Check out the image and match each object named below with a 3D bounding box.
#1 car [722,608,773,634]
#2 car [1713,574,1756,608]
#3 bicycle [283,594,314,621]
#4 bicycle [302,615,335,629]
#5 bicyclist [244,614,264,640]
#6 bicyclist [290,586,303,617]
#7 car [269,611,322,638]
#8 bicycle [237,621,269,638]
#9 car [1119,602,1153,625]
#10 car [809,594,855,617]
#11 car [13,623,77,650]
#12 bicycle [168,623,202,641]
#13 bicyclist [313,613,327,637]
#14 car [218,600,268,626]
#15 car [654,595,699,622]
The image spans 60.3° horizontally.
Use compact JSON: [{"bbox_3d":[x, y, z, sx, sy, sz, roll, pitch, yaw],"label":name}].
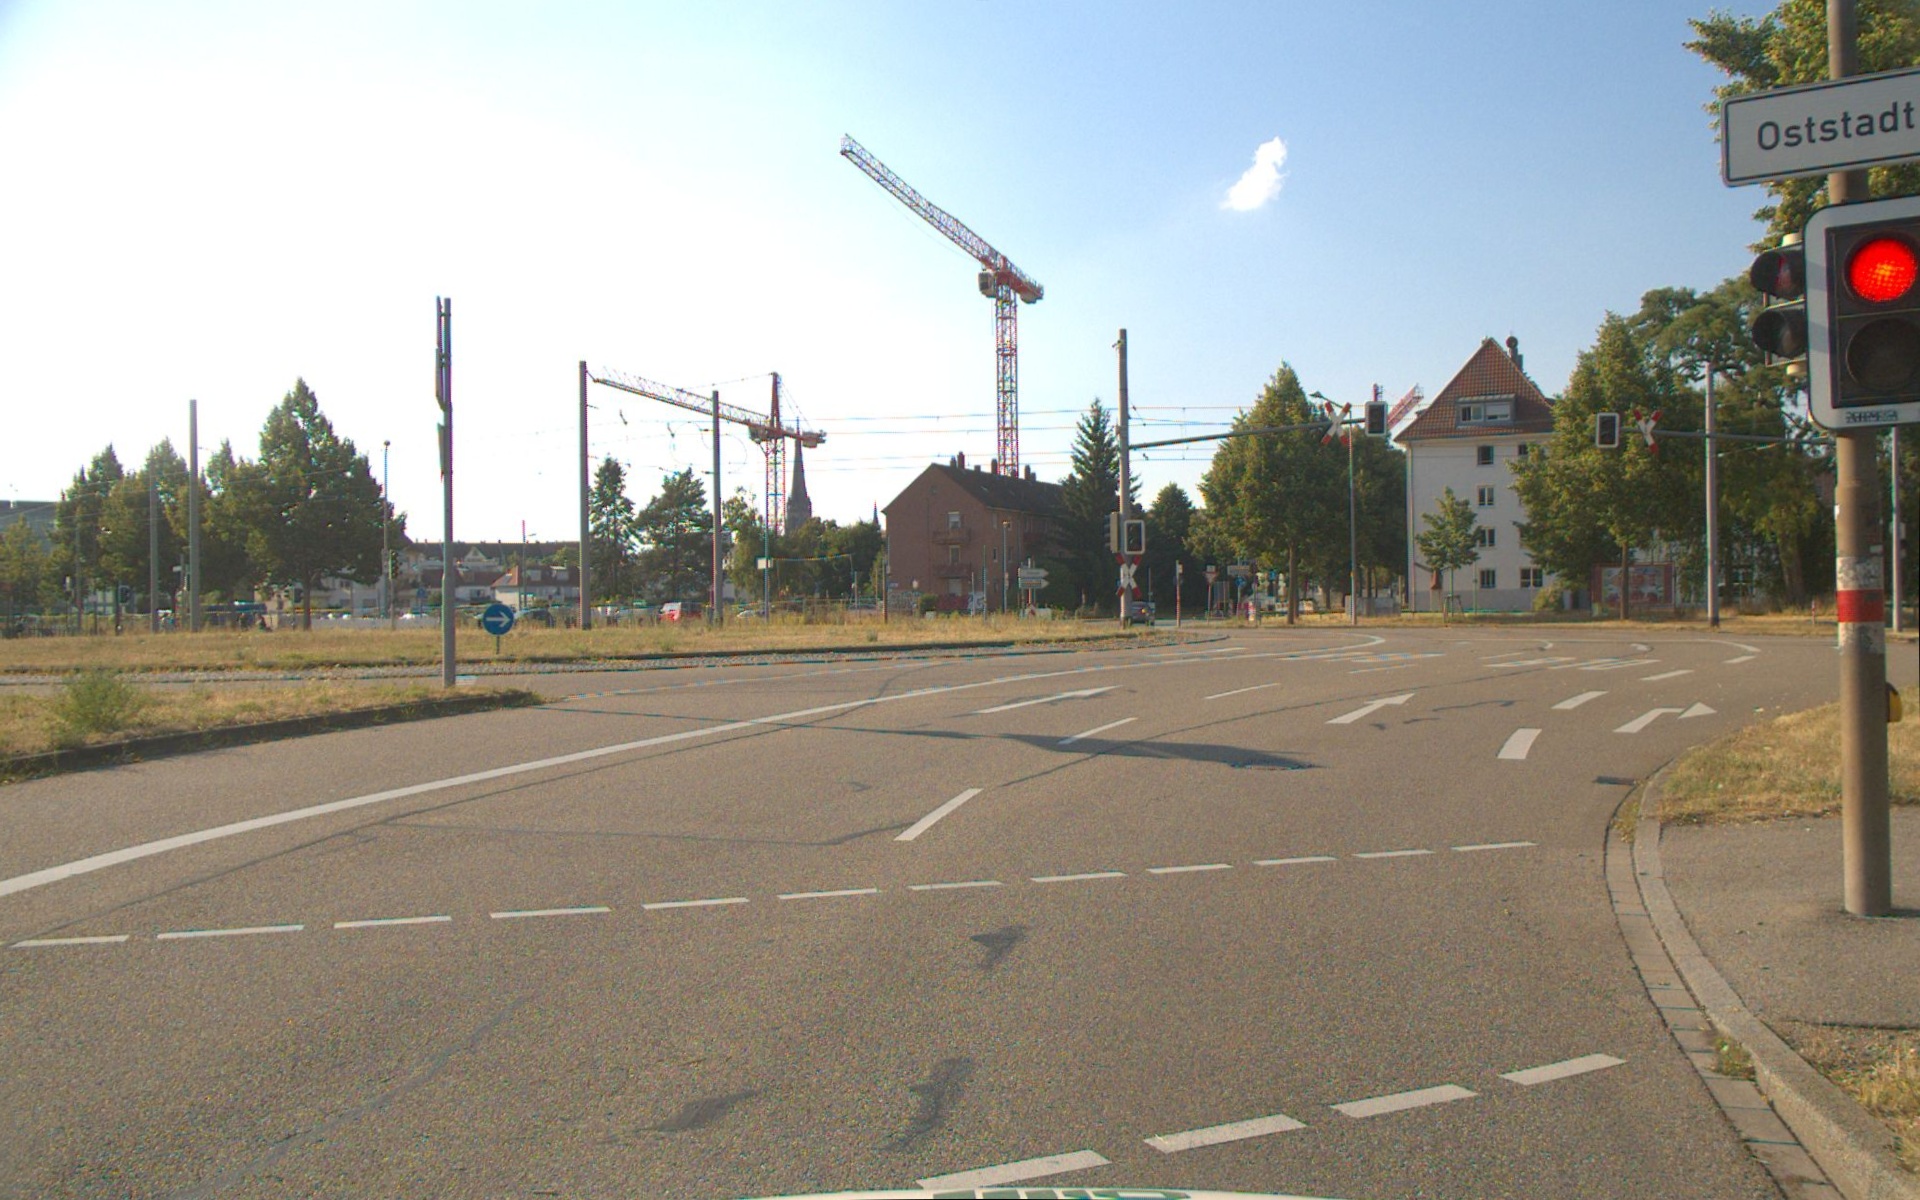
[{"bbox_3d":[-16.993,1.674,132.215,3.728,2.049,1.673,-1,-1,18],"label":"car"},{"bbox_3d":[38.728,-0.445,82.664,1.737,1.646,3.964,-1,-1,27],"label":"car"},{"bbox_3d":[-36.632,0.407,91.604,1.525,1.499,0.474,-1,0,-33],"label":"bicycle"},{"bbox_3d":[-36.123,1.222,93.110,1.696,0.757,0.476,-1,0,-28],"label":"bicycle"},{"bbox_3d":[-38.873,1.472,91.043,0.943,1.381,0.687,-1,0,-27],"label":"bicyclist"},{"bbox_3d":[-36.740,0.101,91.551,0.601,1.701,0.472,0,-1,-33],"label":"bicyclist"},{"bbox_3d":[-52.159,1.919,129.906,3.917,2.049,1.994,-1,0,34],"label":"car"},{"bbox_3d":[-38.887,1.607,91.005,1.595,0.875,0.540,-1,0,-27],"label":"bicycle"},{"bbox_3d":[10.783,0.836,101.083,1.424,1.323,3.551,-1,0,17],"label":"car"},{"bbox_3d":[-11.547,0.486,149.438,3.728,2.049,1.673,-1,-1,18],"label":"car"},{"bbox_3d":[-46.384,1.821,83.858,2.652,1.283,1.097,-1,0,-42],"label":"car"},{"bbox_3d":[-40.575,1.688,86.636,1.595,0.875,0.540,-1,0,-27],"label":"bicycle"},{"bbox_3d":[-36.053,1.419,93.150,0.645,1.349,0.514,-1,0,-29],"label":"bicyclist"},{"bbox_3d":[-58.582,1.037,135.130,3.917,2.049,1.994,-1,0,34],"label":"car"},{"bbox_3d":[-19.889,0.592,115.839,1.899,1.886,3.960,-1,0,-30],"label":"car"}]
